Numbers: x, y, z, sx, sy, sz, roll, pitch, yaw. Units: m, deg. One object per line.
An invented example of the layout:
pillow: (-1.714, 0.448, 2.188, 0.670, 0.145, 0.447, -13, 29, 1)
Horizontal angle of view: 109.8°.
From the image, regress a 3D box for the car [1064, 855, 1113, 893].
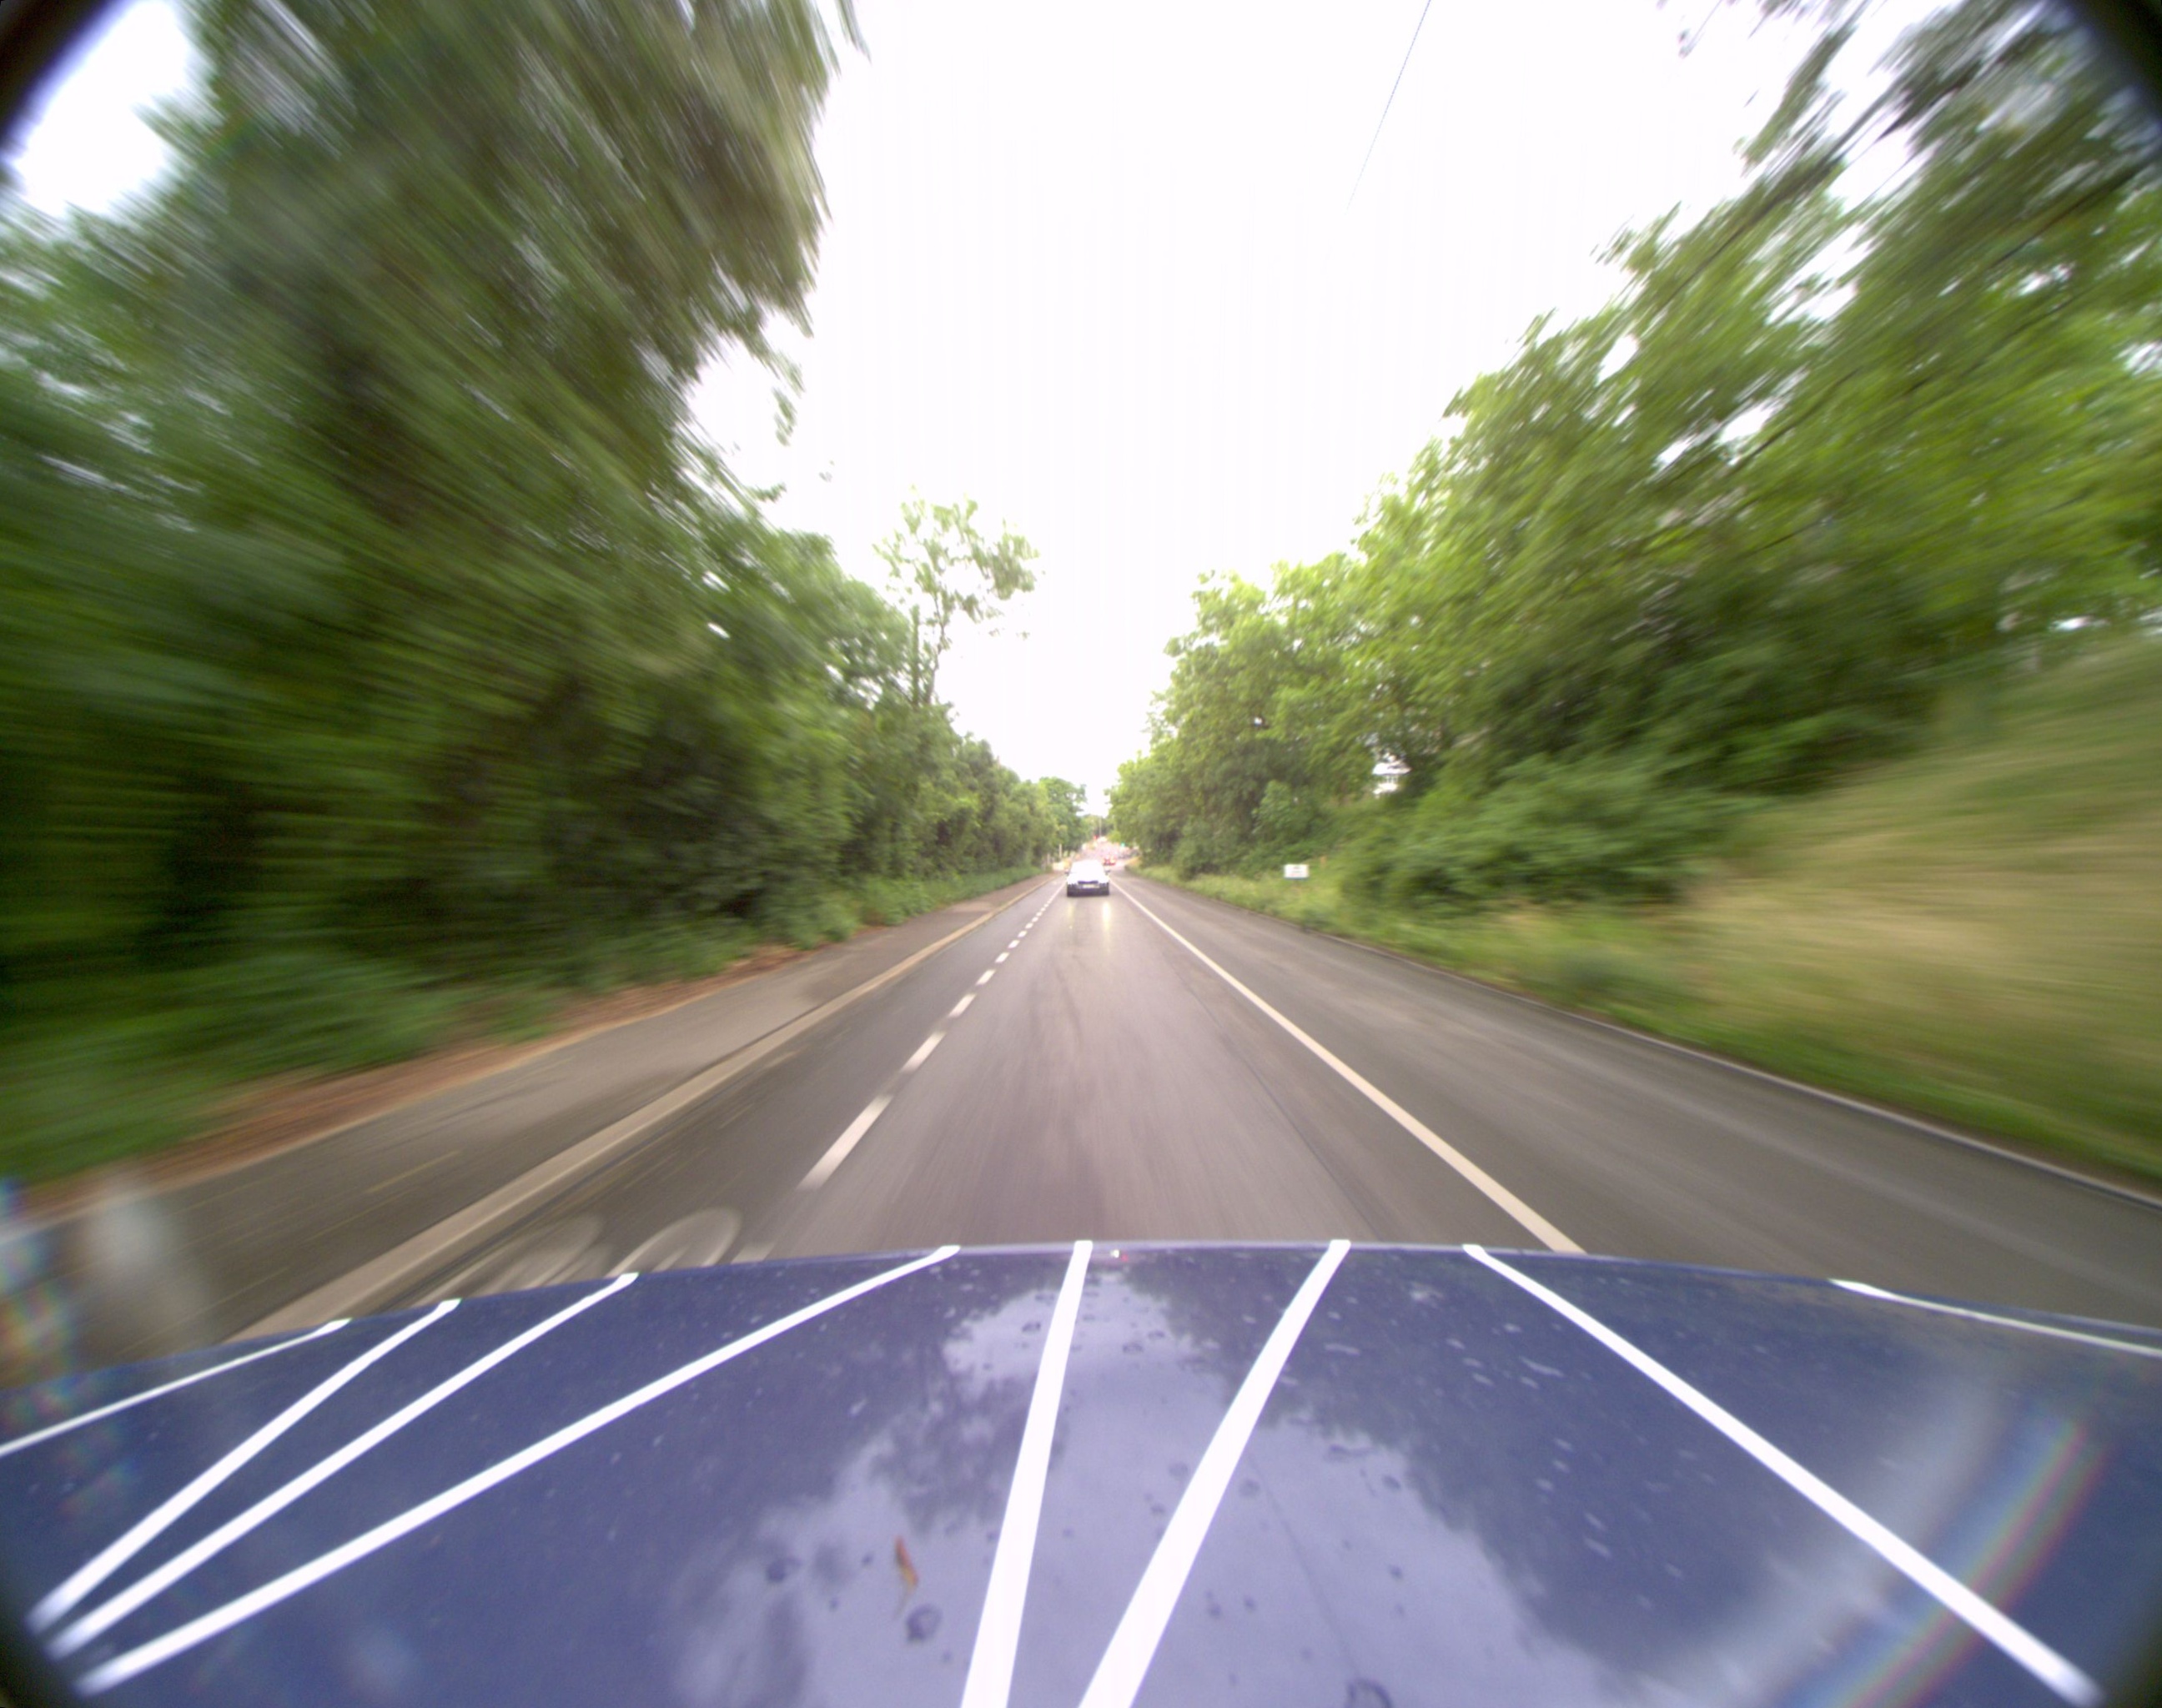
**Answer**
car: (0.318, 0.830, 33.781, 1.981, 1.497, 3.999, -2, 0, 0)

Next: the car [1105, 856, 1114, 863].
car: (6.881, 1.383, 181.567, 1.981, 1.497, 3.999, -2, 0, 0)
